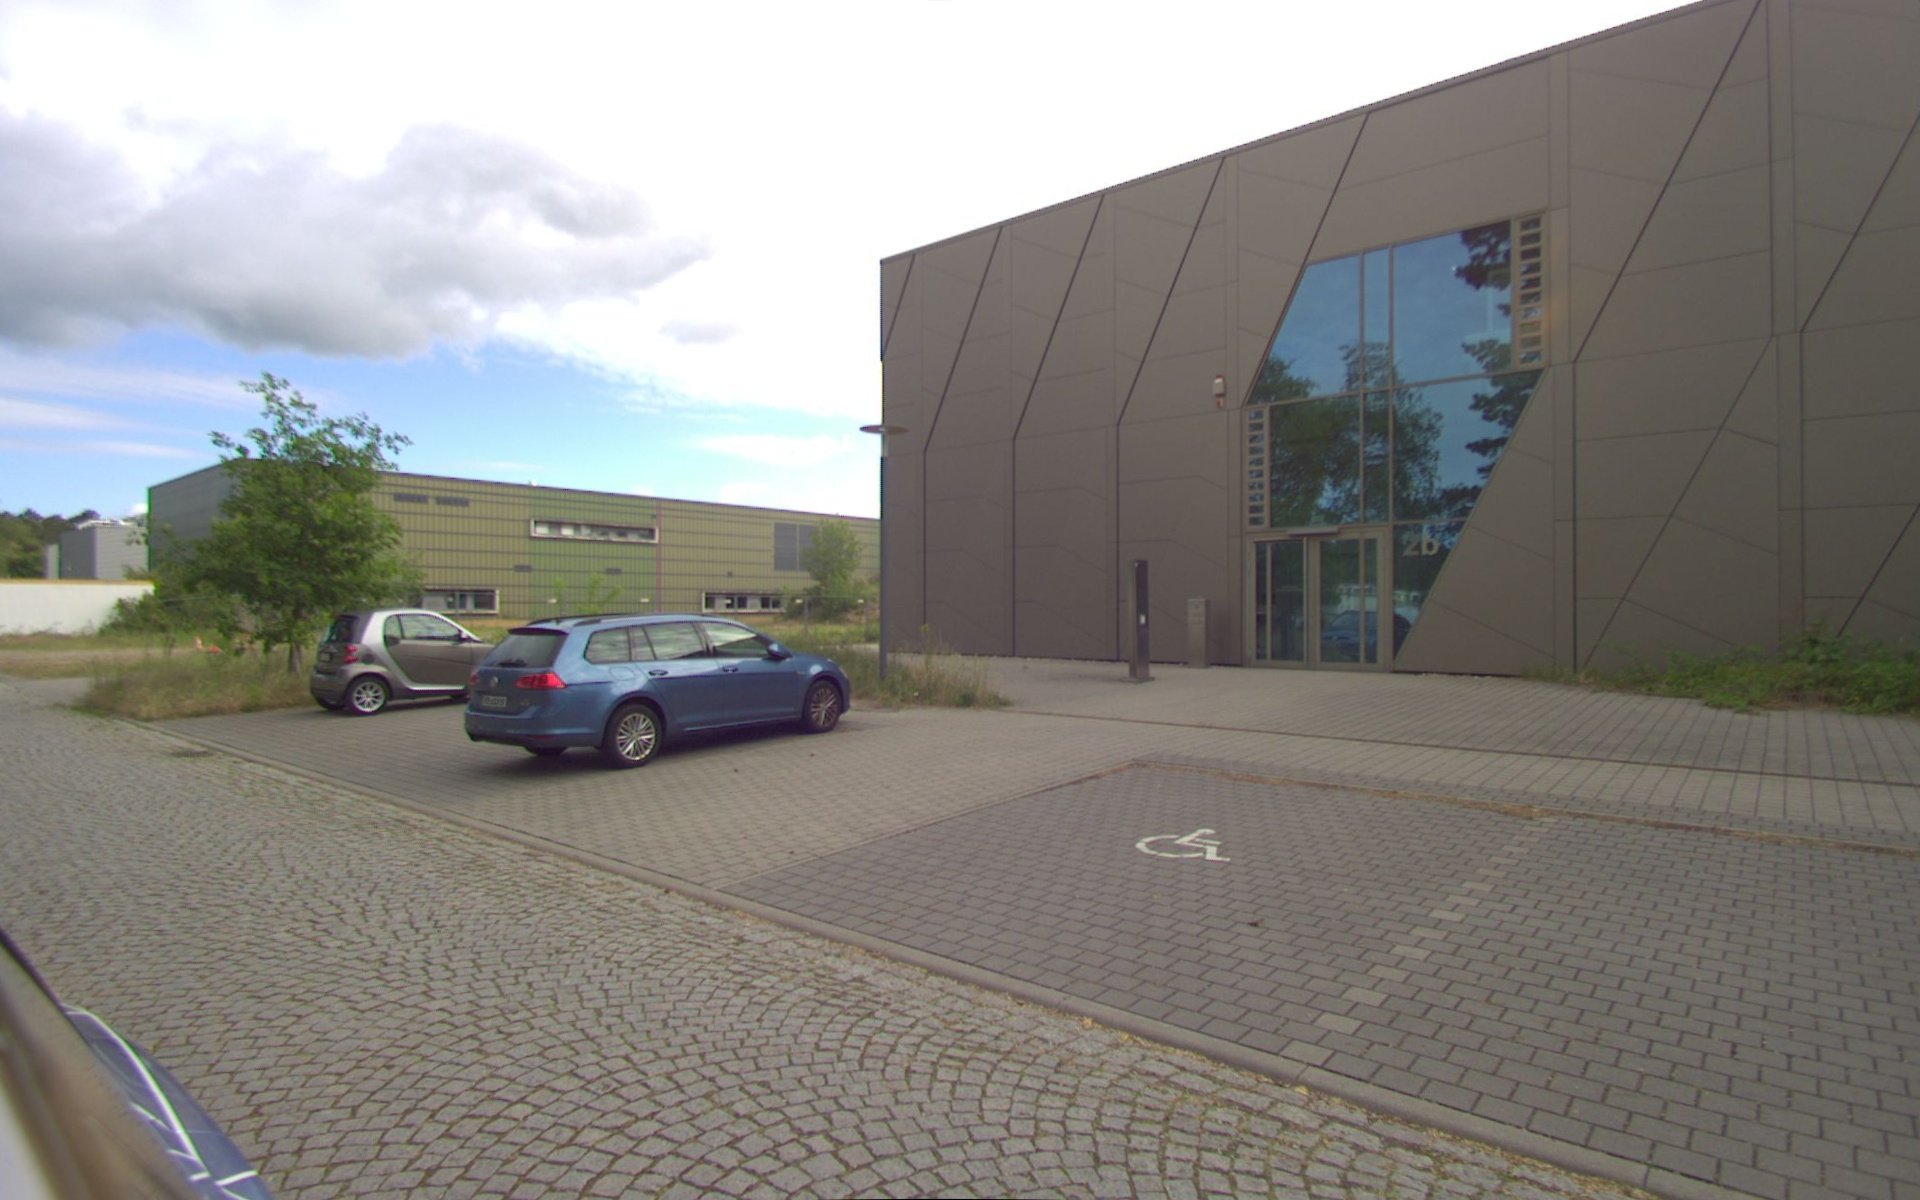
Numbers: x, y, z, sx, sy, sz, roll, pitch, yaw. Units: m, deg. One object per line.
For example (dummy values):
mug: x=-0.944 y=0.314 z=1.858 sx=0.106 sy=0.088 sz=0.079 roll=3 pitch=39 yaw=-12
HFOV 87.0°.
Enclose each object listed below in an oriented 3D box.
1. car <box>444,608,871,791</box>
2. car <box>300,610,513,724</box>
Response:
car: x=-3.064 y=0.894 z=11.130 sx=1.631 sy=1.480 sz=4.373 roll=-1 pitch=1 yaw=38
car: x=-8.656 y=0.971 z=15.923 sx=1.498 sy=1.541 sz=2.553 roll=-1 pitch=1 yaw=38
